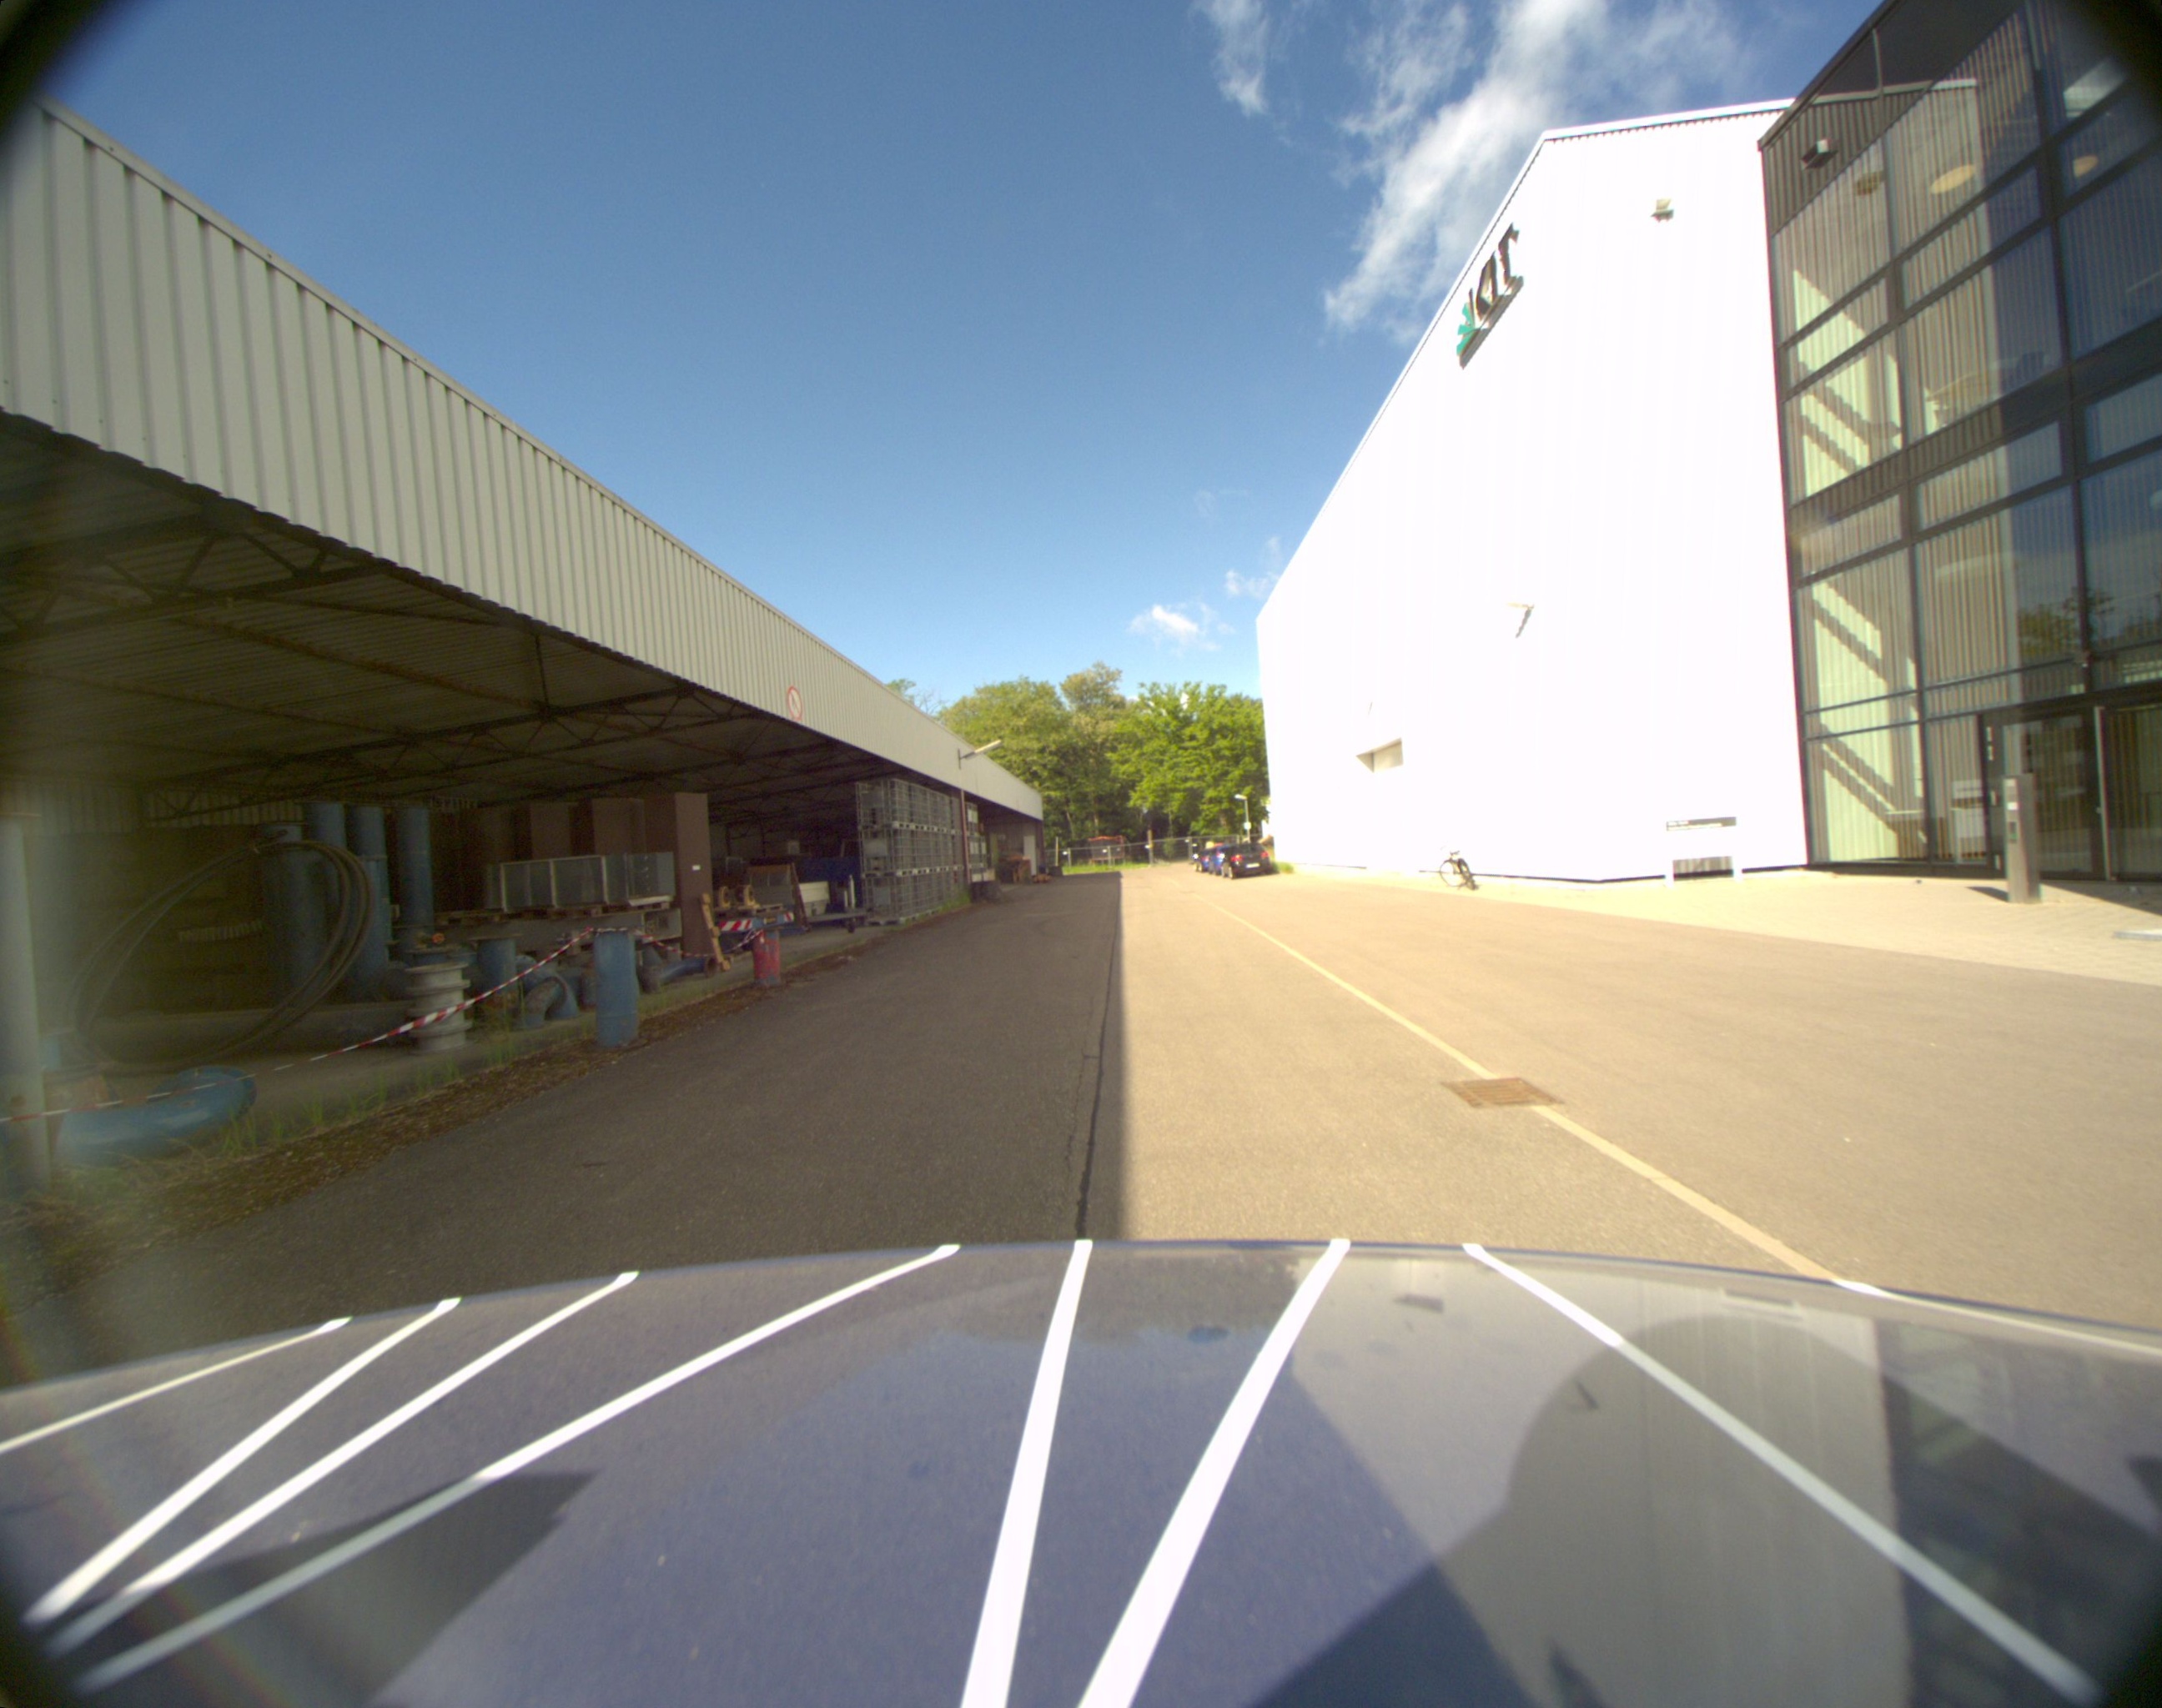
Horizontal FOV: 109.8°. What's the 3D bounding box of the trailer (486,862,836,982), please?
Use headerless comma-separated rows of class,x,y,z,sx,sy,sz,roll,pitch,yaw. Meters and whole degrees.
trailer,-7.063,1.101,13.174,4.878,1.619,2.029,-3,1,2

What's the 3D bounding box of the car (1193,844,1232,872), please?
car,7.547,0.218,43.832,1.789,1.431,4.001,-3,0,5

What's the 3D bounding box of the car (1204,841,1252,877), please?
car,7.362,0.214,38.331,1.789,1.513,4.001,-7,0,5

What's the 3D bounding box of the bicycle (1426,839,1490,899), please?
bicycle,8.429,0.314,17.075,0.909,1.136,1.901,-7,1,18

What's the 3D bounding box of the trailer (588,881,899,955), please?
trailer,-7.155,1.356,16.535,5.836,1.113,2.029,-3,0,2

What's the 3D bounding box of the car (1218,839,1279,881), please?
car,7.216,0.224,33.080,1.895,1.513,4.001,-7,0,5
